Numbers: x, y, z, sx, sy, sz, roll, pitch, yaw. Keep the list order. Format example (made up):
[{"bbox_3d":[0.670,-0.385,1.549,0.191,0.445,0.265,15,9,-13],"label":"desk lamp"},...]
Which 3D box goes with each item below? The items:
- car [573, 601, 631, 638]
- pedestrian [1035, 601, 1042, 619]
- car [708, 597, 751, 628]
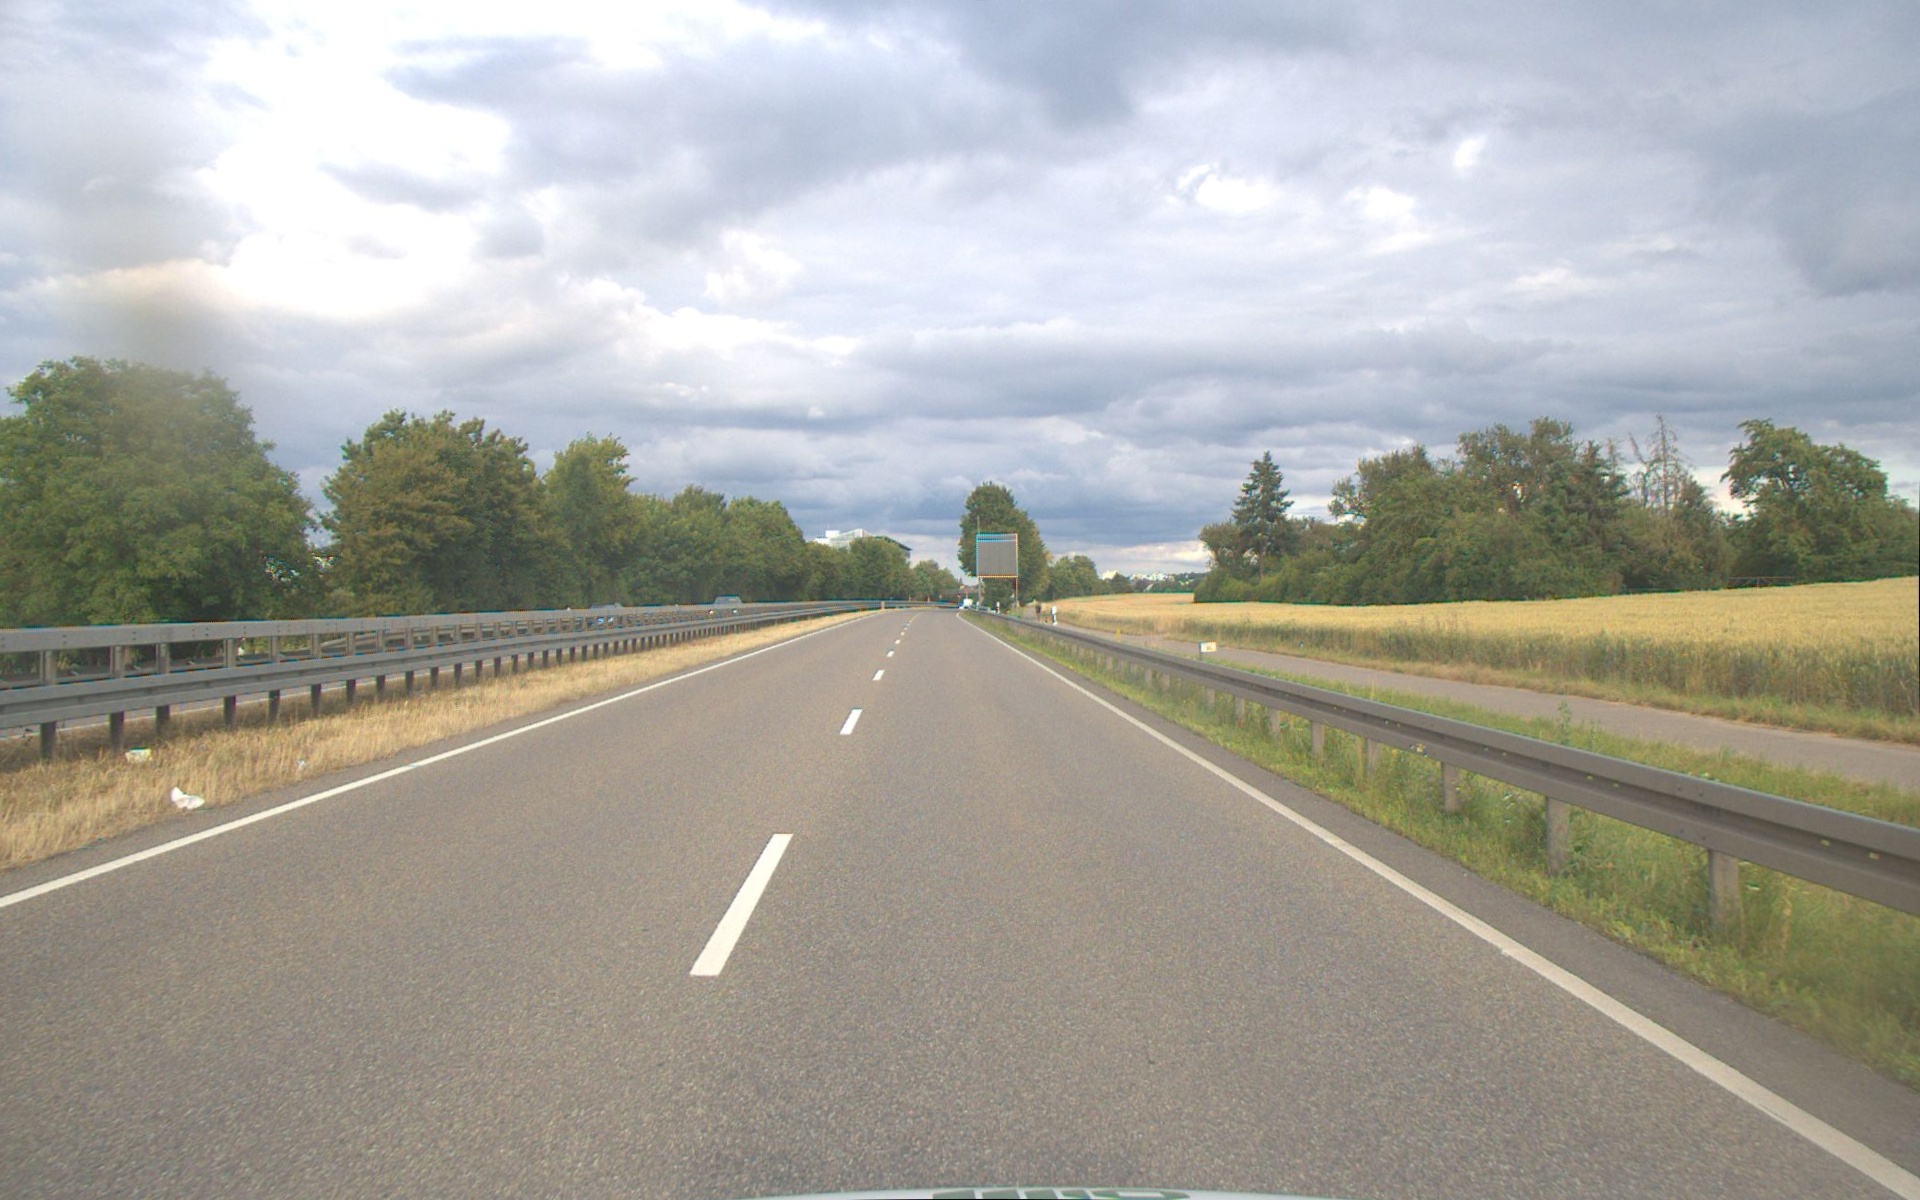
[{"bbox_3d":[-17.152,0.916,79.364,1.761,1.654,4.483,-2,0,0],"label":"car"},{"bbox_3d":[7.450,0.957,157.280,0.589,1.695,0.542,1,0,-3],"label":"pedestrian"},{"bbox_3d":[-13.138,0.716,94.537,1.761,1.654,4.483,-2,0,0],"label":"car"}]
